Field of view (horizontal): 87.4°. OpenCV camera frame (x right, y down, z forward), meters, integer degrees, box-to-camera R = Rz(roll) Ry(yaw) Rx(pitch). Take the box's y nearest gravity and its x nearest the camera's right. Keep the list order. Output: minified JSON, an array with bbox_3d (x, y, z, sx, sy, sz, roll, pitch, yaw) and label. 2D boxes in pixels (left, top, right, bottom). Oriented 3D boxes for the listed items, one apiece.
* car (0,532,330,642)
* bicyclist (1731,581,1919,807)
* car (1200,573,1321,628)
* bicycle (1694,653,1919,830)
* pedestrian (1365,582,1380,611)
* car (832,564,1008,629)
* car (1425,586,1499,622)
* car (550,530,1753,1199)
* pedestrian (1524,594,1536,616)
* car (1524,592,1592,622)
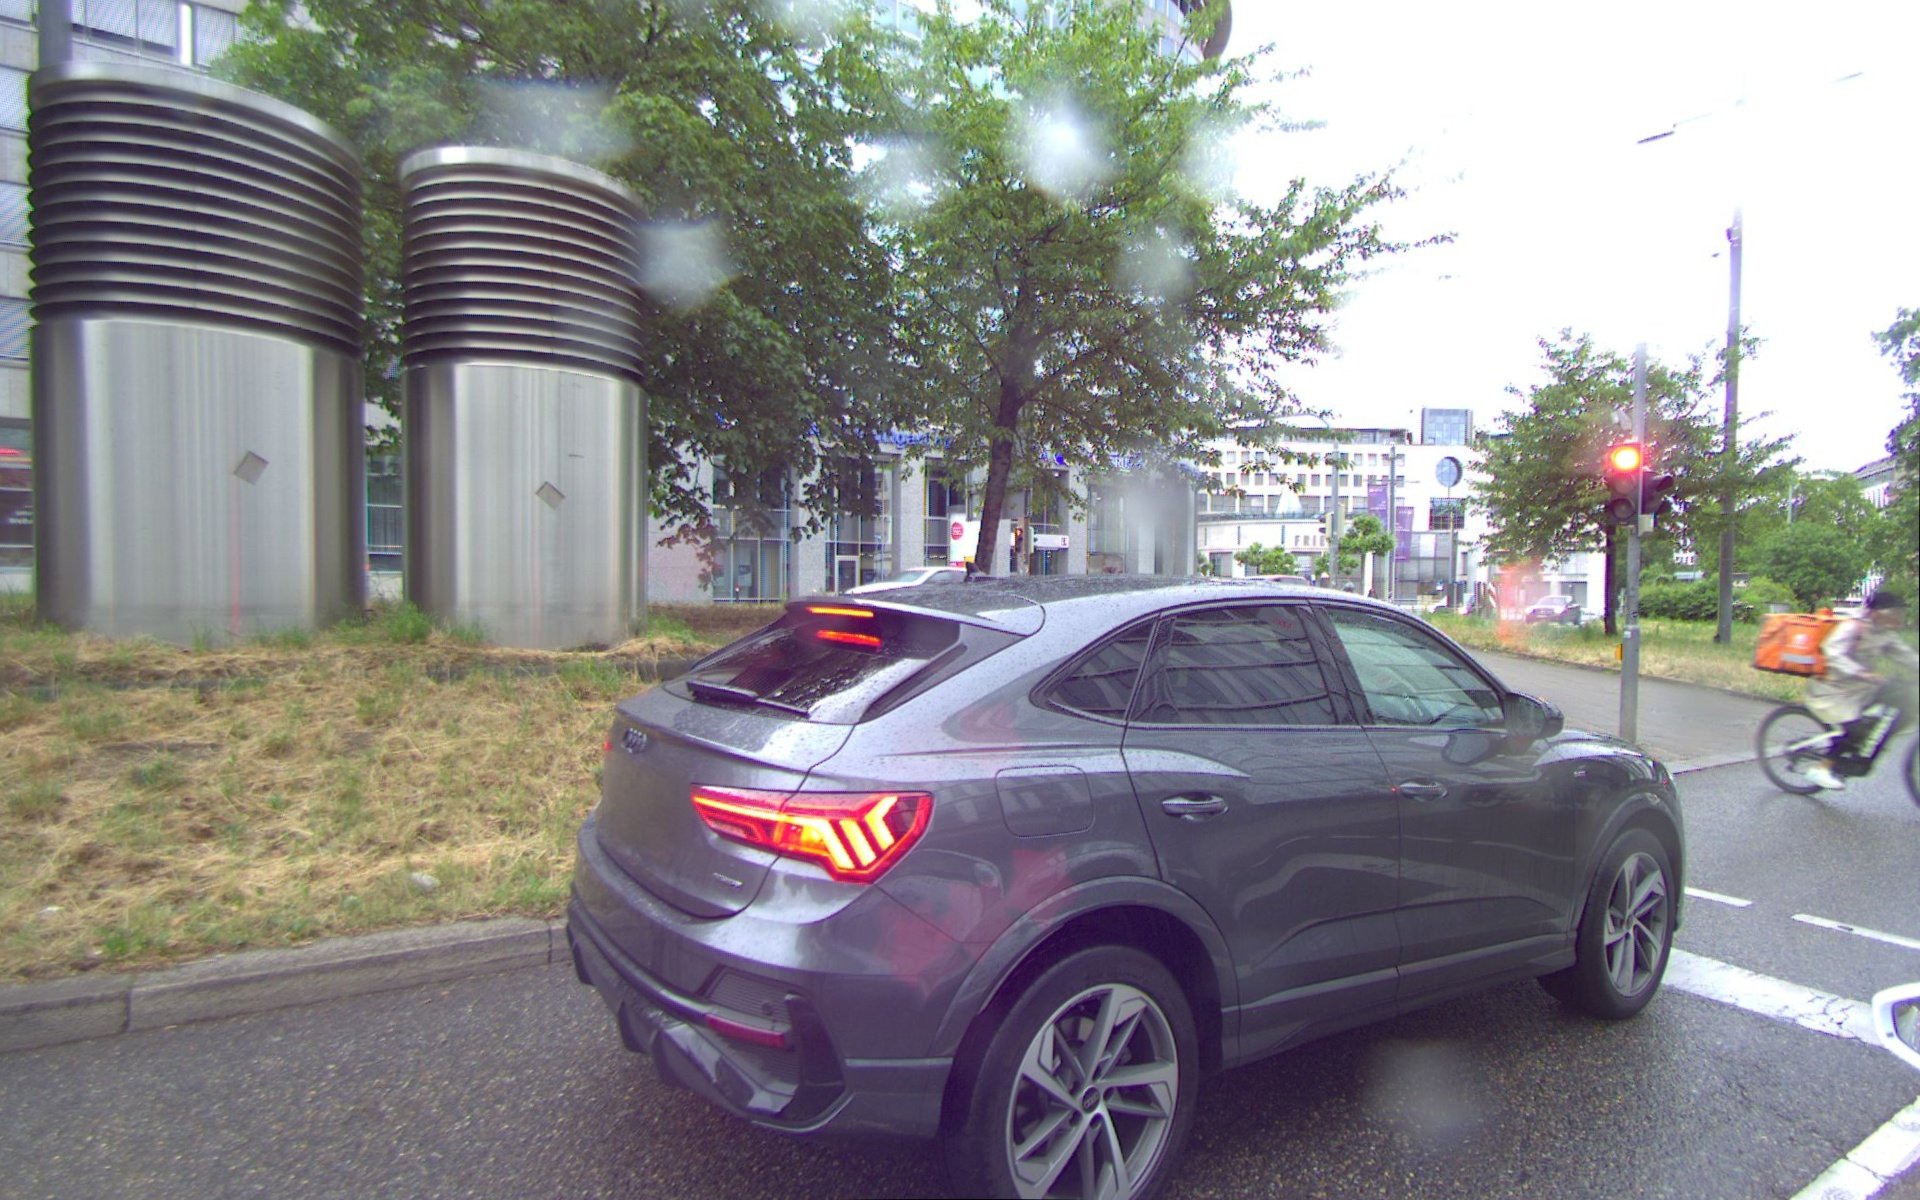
[{"bbox_3d":[-12.175,-0.181,15.508,3.966,1.495,1.853,1,1,-39],"label":"car"},{"bbox_3d":[7.072,0.696,7.897,0.996,1.603,1.135,3,3,-5],"label":"bicyclist"},{"bbox_3d":[10.387,0.027,34.614,4.543,1.750,1.710,1,1,-39],"label":"car"},{"bbox_3d":[7.061,1.048,7.838,0.993,1.128,2.065,3,0,-5],"label":"bicycle"},{"bbox_3d":[25.802,-0.201,62.800,0.613,1.786,0.721,-1,-2,44],"label":"pedestrian"},{"bbox_3d":[-0.952,-0.080,25.193,4.157,1.495,1.805,1,1,-39],"label":"car"},{"bbox_3d":[23.124,0.164,46.255,3.973,1.506,1.786,1,3,-44],"label":"car"},{"bbox_3d":[0.913,0.680,3.661,4.207,1.638,1.837,0,2,-33],"label":"car"},{"bbox_3d":[54.216,0.491,95.480,0.779,2.041,0.737,4,3,37],"label":"pedestrian"},{"bbox_3d":[32.906,0.400,55.235,4.347,1.506,1.789,1,3,-40],"label":"car"}]
